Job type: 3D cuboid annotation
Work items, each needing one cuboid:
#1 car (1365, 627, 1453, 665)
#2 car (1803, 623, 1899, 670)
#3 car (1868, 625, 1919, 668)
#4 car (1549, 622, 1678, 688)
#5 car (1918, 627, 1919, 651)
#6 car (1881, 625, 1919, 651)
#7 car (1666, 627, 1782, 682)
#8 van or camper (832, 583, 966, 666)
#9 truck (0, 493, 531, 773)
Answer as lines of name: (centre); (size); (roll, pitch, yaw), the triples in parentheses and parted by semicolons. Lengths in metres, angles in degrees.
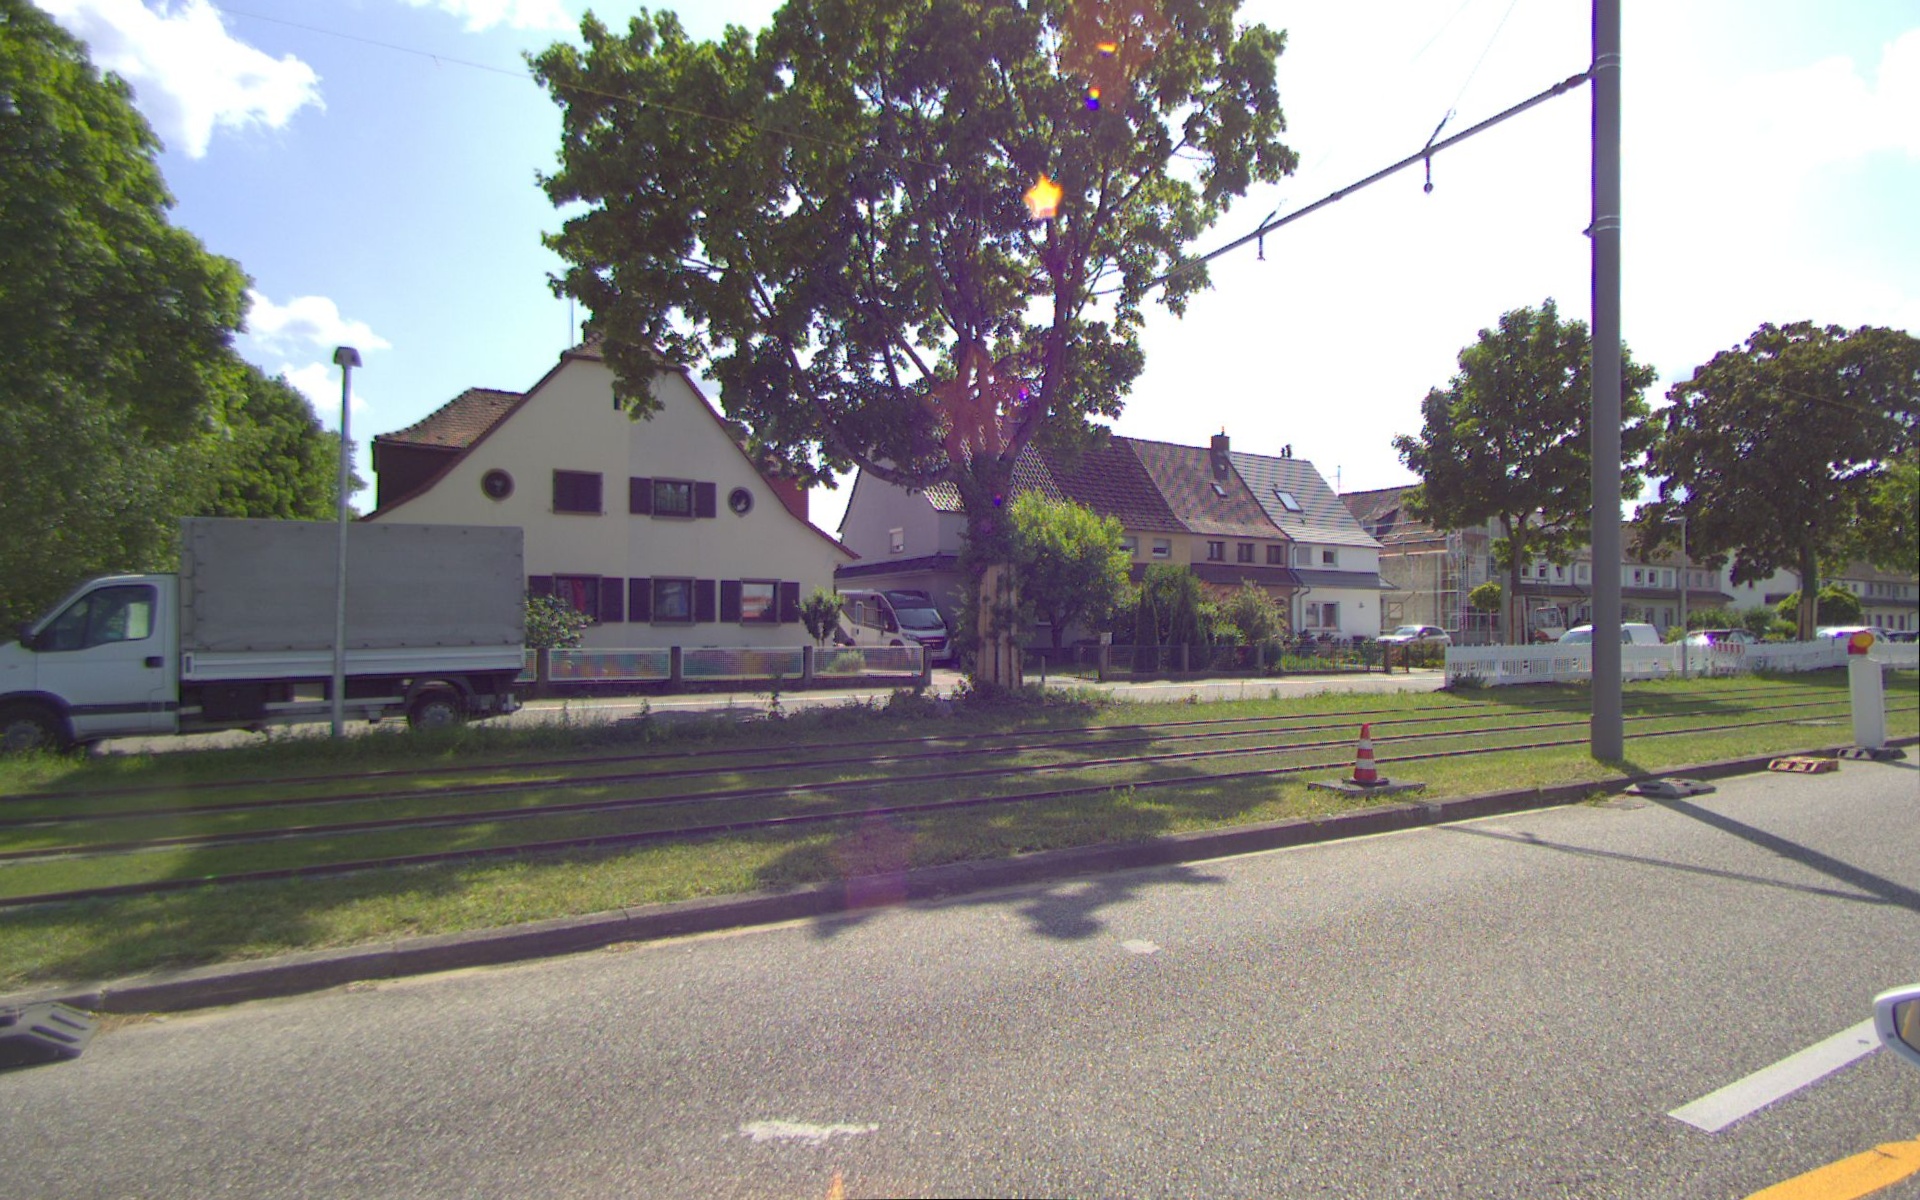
car: (19.895, 1.994, 44.482); (3.814, 1.614, 1.691); (1, -2, -30)
car: (34.971, 1.802, 39.414); (3.814, 1.762, 1.691); (1, -2, -30)
car: (40.395, 1.960, 42.602); (3.814, 1.762, 1.691); (1, -2, -30)
car: (19.507, 1.605, 29.962); (3.814, 1.841, 1.691); (1, -2, -30)
car: (72.142, 2.844, 73.668); (4.013, 1.762, 1.691); (1, -2, -30)
car: (66.759, 2.680, 70.733); (4.013, 1.762, 1.691); (1, -2, -30)
car: (25.752, 1.800, 33.829); (4.006, 1.762, 1.691); (1, -2, -30)
van or camper: (-2.345, 0.909, 36.653); (2.224, 2.745, 5.963); (1, -2, -33)
truck: (-8.792, 0.416, 12.937); (5.805, 3.027, 1.994); (1, -2, -30)
